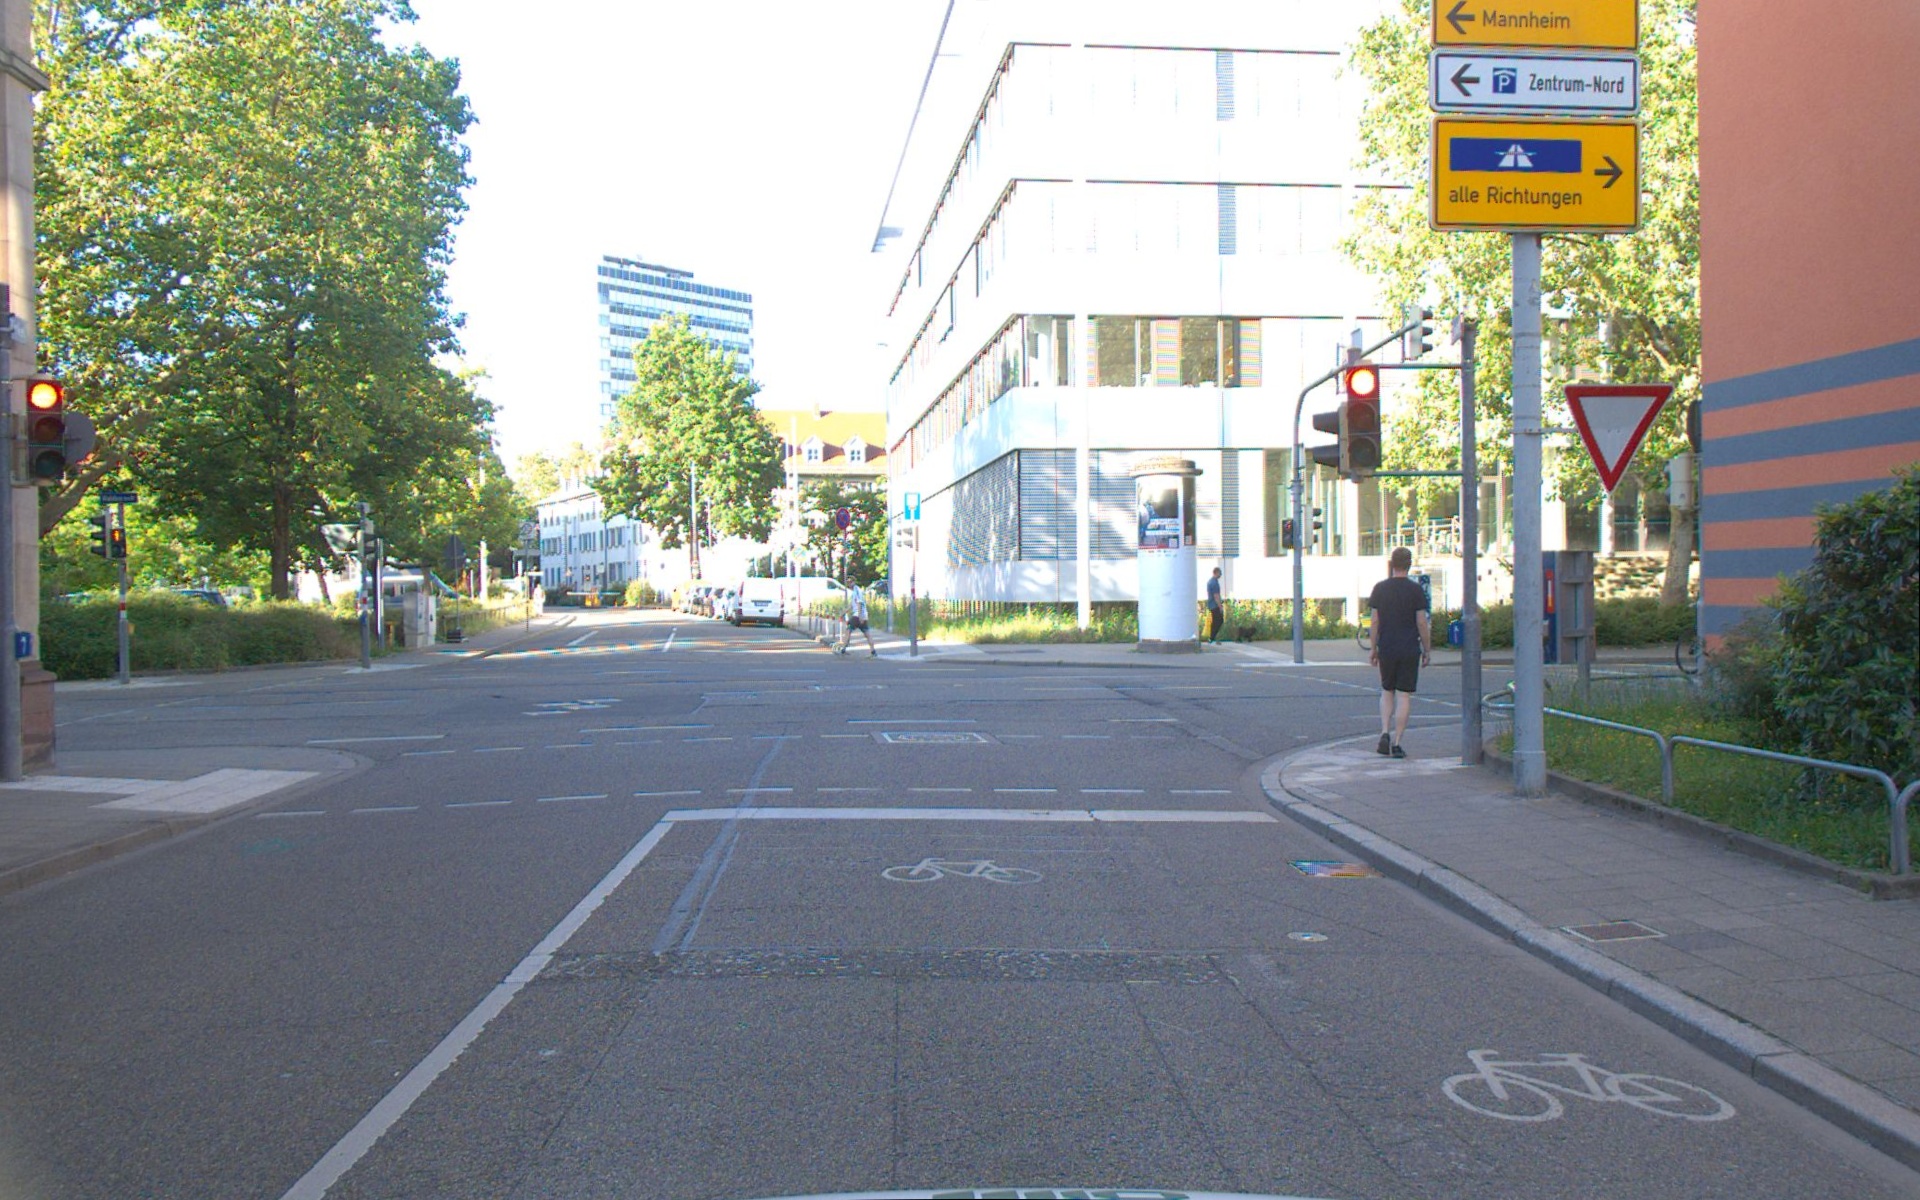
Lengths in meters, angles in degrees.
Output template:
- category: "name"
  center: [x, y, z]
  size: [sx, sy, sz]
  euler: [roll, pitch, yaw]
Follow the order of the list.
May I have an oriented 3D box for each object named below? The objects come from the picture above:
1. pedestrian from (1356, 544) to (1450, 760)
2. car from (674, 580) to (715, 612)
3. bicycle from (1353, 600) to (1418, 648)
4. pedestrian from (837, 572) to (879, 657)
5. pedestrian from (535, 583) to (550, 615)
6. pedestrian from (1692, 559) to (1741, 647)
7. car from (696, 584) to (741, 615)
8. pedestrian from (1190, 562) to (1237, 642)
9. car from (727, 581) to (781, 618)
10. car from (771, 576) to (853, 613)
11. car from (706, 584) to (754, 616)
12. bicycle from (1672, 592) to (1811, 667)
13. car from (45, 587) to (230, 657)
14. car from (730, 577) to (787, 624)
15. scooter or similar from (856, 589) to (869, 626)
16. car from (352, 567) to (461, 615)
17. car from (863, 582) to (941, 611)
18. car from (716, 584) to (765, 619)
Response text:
- category: "pedestrian"
  center: [3.898, 0.445, 14.596]
  size: [0.684, 1.842, 0.720]
  euler: [1, -1, 7]
- category: "car"
  center: [-15.382, -0.202, 95.601]
  size: [1.960, 1.755, 4.635]
  euler: [1, 0, -14]
- category: "bicycle"
  center: [9.325, 0.509, 36.279]
  size: [0.376, 1.026, 1.410]
  euler: [-1, 0, -42]
- category: "pedestrian"
  center: [-2.315, 0.335, 37.661]
  size: [0.895, 1.901, 0.742]
  euler: [1, -1, -1]
- category: "pedestrian"
  center: [-21.718, -0.059, 86.043]
  size: [0.688, 1.614, 0.634]
  euler: [1, -1, -16]
- category: "pedestrian"
  center: [16.106, 0.064, 35.213]
  size: [0.749, 1.826, 0.648]
  euler: [1, -1, 2]
- category: "car"
  center: [-12.549, -0.043, 85.786]
  size: [1.959, 1.525, 4.637]
  euler: [1, 0, -13]
- category: "pedestrian"
  center: [5.960, 0.040, 38.951]
  size: [0.897, 1.847, 0.760]
  euler: [1, -1, -9]
- category: "car"
  center: [-8.867, -0.013, 70.898]
  size: [1.958, 1.525, 4.639]
  euler: [1, 0, -11]
- category: "car"
  center: [-9.199, -0.340, 102.794]
  size: [4.718, 2.196, 1.990]
  euler: [1, 0, -18]
- category: "car"
  center: [-11.306, -0.001, 81.080]
  size: [1.959, 1.525, 4.272]
  euler: [1, 0, -13]
- category: "bicycle"
  center: [12.522, 0.471, 26.524]
  size: [1.922, 1.172, 0.593]
  euler: [-1, 0, 5]
- category: "car"
  center: [-18.365, 0.488, 37.061]
  size: [3.347, 1.483, 1.646]
  euler: [1, 0, -11]
- category: "car"
  center: [-7.915, 0.021, 64.699]
  size: [1.957, 1.755, 4.641]
  euler: [1, 0, -10]
- category: "scooter or similar"
  center: [-3.427, 0.272, 58.232]
  size: [0.429, 1.278, 1.418]
  euler: [-1, 0, -5]
- category: "car"
  center: [-24.961, -0.381, 74.678]
  size: [4.363, 2.049, 1.995]
  euler: [1, 0, -10]
- category: "car"
  center: [-3.674, -0.225, 104.720]
  size: [4.563, 1.755, 1.991]
  euler: [1, 0, -17]
- category: "car"
  center: [-10.193, 0.066, 76.649]
  size: [1.958, 1.525, 4.639]
  euler: [1, 0, -11]
